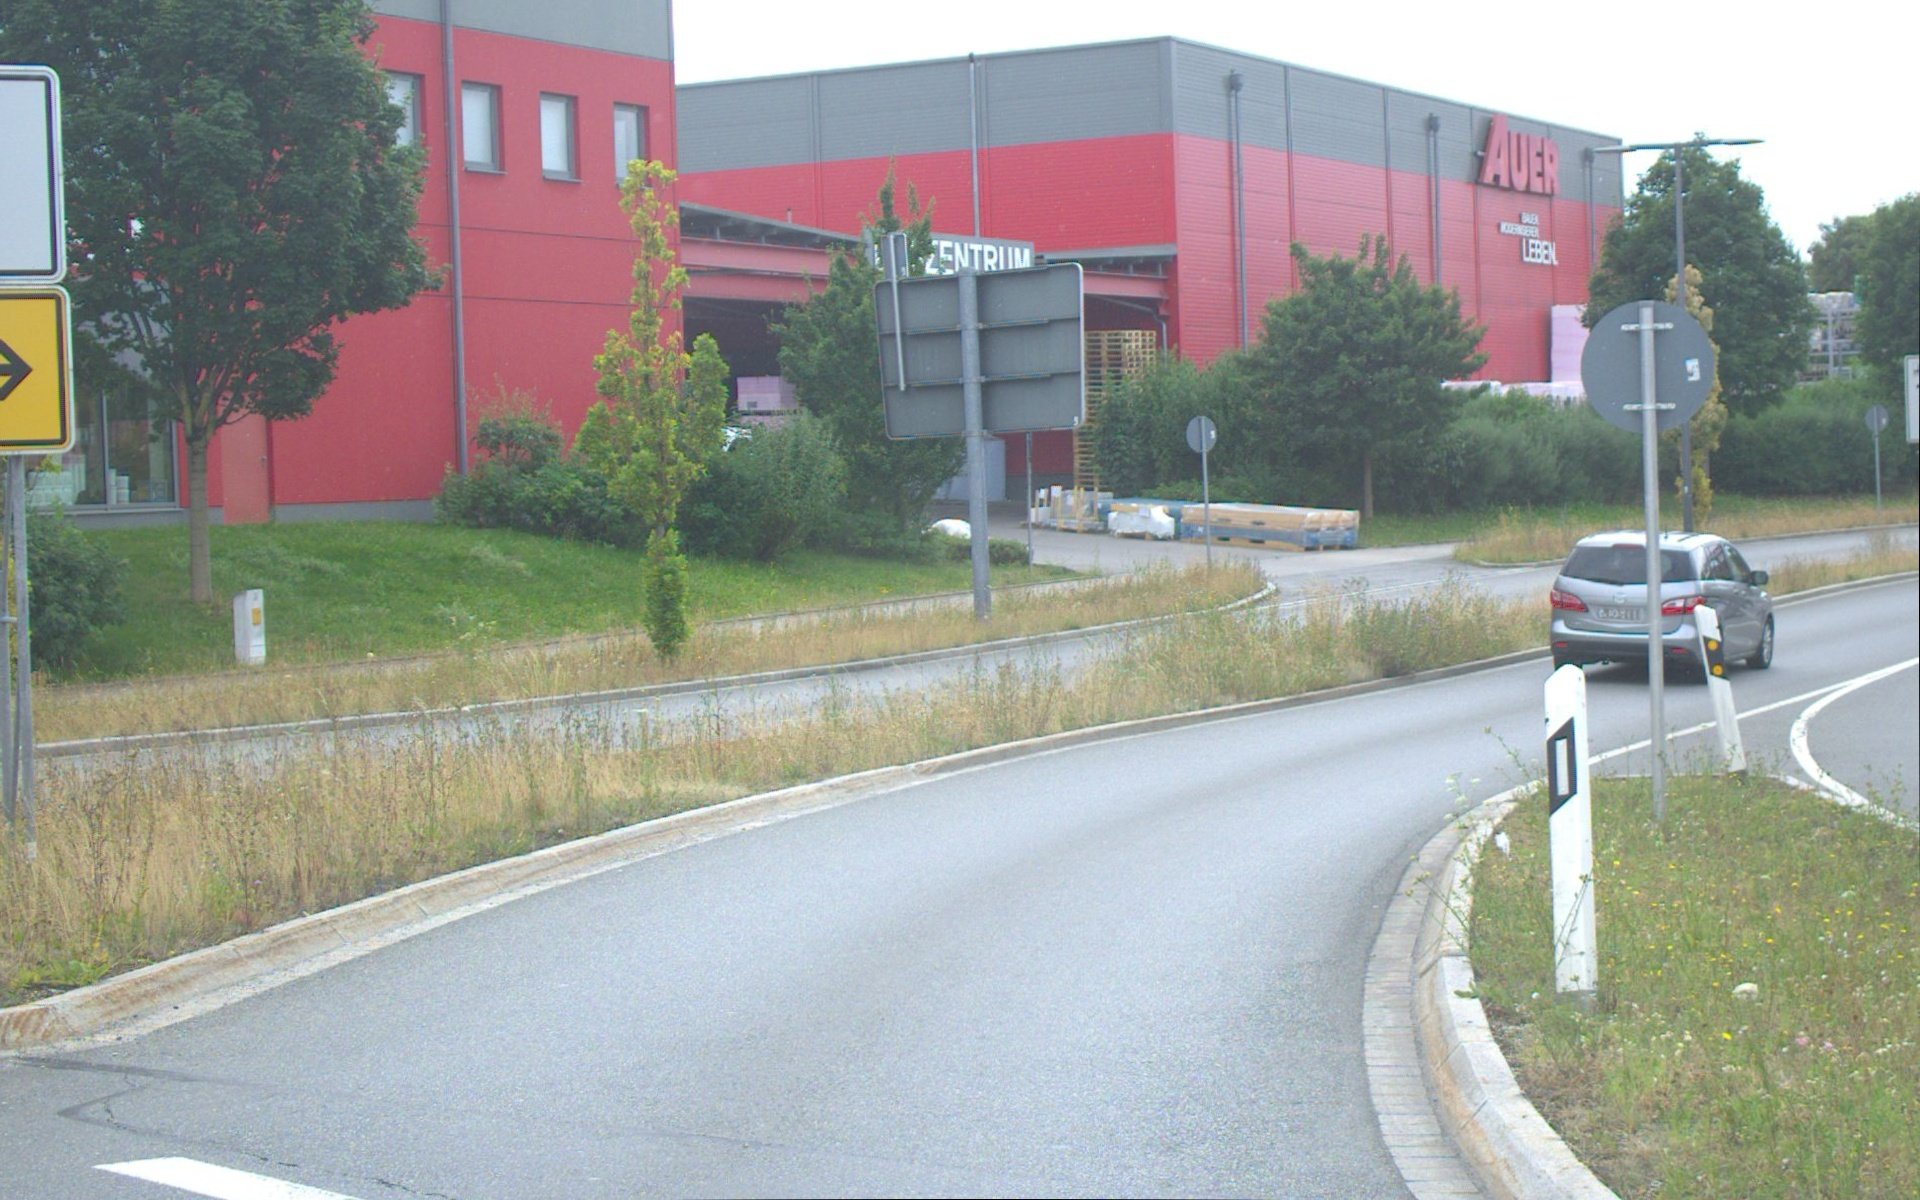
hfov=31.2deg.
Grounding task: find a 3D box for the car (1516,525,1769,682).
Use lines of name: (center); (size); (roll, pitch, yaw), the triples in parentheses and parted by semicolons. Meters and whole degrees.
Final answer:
car: (7.611, -0.002, 38.102); (1.770, 1.611, 3.916); (0, 2, 27)
